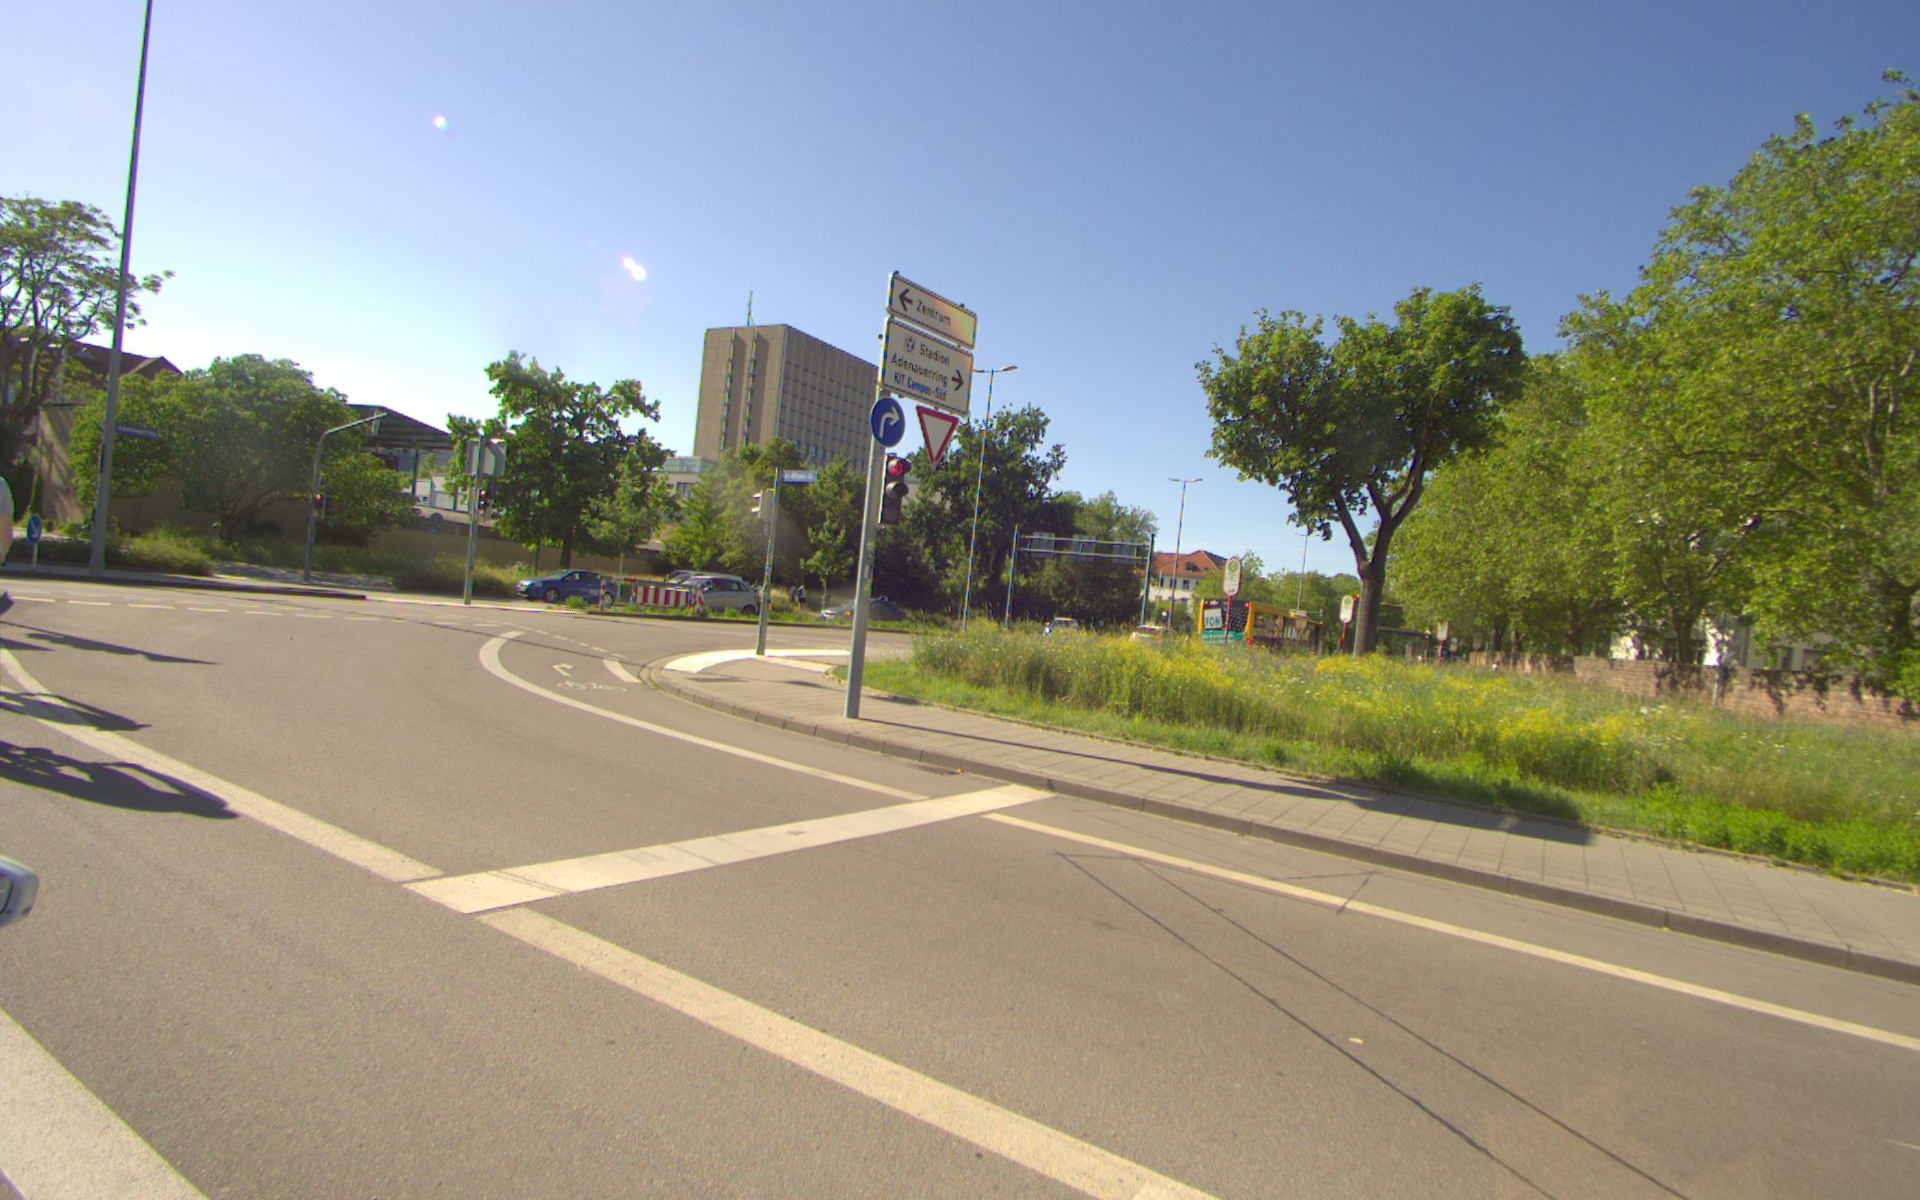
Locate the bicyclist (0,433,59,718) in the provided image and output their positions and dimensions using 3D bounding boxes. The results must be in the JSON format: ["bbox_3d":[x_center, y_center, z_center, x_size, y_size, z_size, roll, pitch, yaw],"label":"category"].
[{"bbox_3d":[-6.224,-0.202,6.093,1.000,1.688,0.752,6,-1,33],"label":"bicyclist"}]

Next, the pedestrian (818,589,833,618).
[{"bbox_3d":[-8.531,0.208,63.991,0.519,1.801,0.561,7,1,35],"label":"pedestrian"}]

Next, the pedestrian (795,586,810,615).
[{"bbox_3d":[-9.974,0.022,63.705,0.519,1.801,0.561,7,1,35],"label":"pedestrian"}]

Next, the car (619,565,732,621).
[{"bbox_3d":[-11.806,-0.275,41.903,1.972,1.837,3.982,7,0,40],"label":"car"}]

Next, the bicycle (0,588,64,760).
[{"bbox_3d":[-6.297,0.354,6.093,1.946,0.906,0.741,6,-2,33],"label":"bicycle"}]

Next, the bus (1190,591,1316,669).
[{"bbox_3d":[14.334,1.587,48.436,2.752,2.662,10.096,6,-2,34],"label":"bus"}]

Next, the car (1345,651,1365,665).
[{"bbox_3d":[48.536,7.147,123.580,1.812,1.405,4.066,4,-2,27],"label":"car"}]

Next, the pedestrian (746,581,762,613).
[{"bbox_3d":[-12.171,-0.190,59.450,0.519,1.801,0.561,7,1,35],"label":"pedestrian"}]

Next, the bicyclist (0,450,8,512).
[{"bbox_3d":[-8.139,-0.372,7.782,1.048,1.759,0.647,7,-1,26],"label":"bicyclist"}]

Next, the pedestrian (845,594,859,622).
[{"bbox_3d":[-7.231,0.530,67.457,0.519,1.801,0.561,7,1,35],"label":"pedestrian"}]

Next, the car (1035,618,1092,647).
[{"bbox_3d":[6.491,2.042,62.746,1.757,1.448,3.989,6,0,33],"label":"car"}]

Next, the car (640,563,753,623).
[{"bbox_3d":[-12.312,-0.273,47.333,1.968,2.131,4.885,6,-2,34],"label":"car"}]

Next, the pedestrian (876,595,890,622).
[{"bbox_3d":[-5.300,0.592,69.020,0.519,1.801,0.561,7,1,35],"label":"pedestrian"}]

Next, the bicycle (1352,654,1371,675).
[{"bbox_3d":[21.247,3.419,53.204,0.509,1.007,2.056,7,0,32],"label":"bicycle"}]

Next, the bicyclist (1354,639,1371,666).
[{"bbox_3d":[21.274,2.768,53.126,0.509,1.368,1.002,7,1,32],"label":"bicyclist"}]

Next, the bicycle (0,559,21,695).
[{"bbox_3d":[-8.205,0.089,7.777,1.935,1.014,0.661,6,-1,26],"label":"bicycle"}]

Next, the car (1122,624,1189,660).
[{"bbox_3d":[10.097,2.203,51.694,1.814,1.639,4.690,4,-1,31],"label":"car"}]

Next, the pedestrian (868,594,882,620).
[{"bbox_3d":[-5.863,0.512,69.418,0.519,1.716,0.561,7,1,35],"label":"pedestrian"}]

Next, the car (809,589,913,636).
[{"bbox_3d":[-4.309,0.580,44.711,1.968,1.604,4.736,6,0,33],"label":"car"}]

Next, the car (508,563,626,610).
[{"bbox_3d":[-16.093,-0.514,41.342,1.717,1.453,4.162,7,0,38],"label":"car"}]

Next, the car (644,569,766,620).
[{"bbox_3d":[-9.434,-0.191,37.432,1.840,1.426,4.046,6,0,38],"label":"car"}]

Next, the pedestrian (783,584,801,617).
[{"bbox_3d":[-10.098,0.014,60.582,0.702,1.872,0.561,7,1,35],"label":"pedestrian"}]
